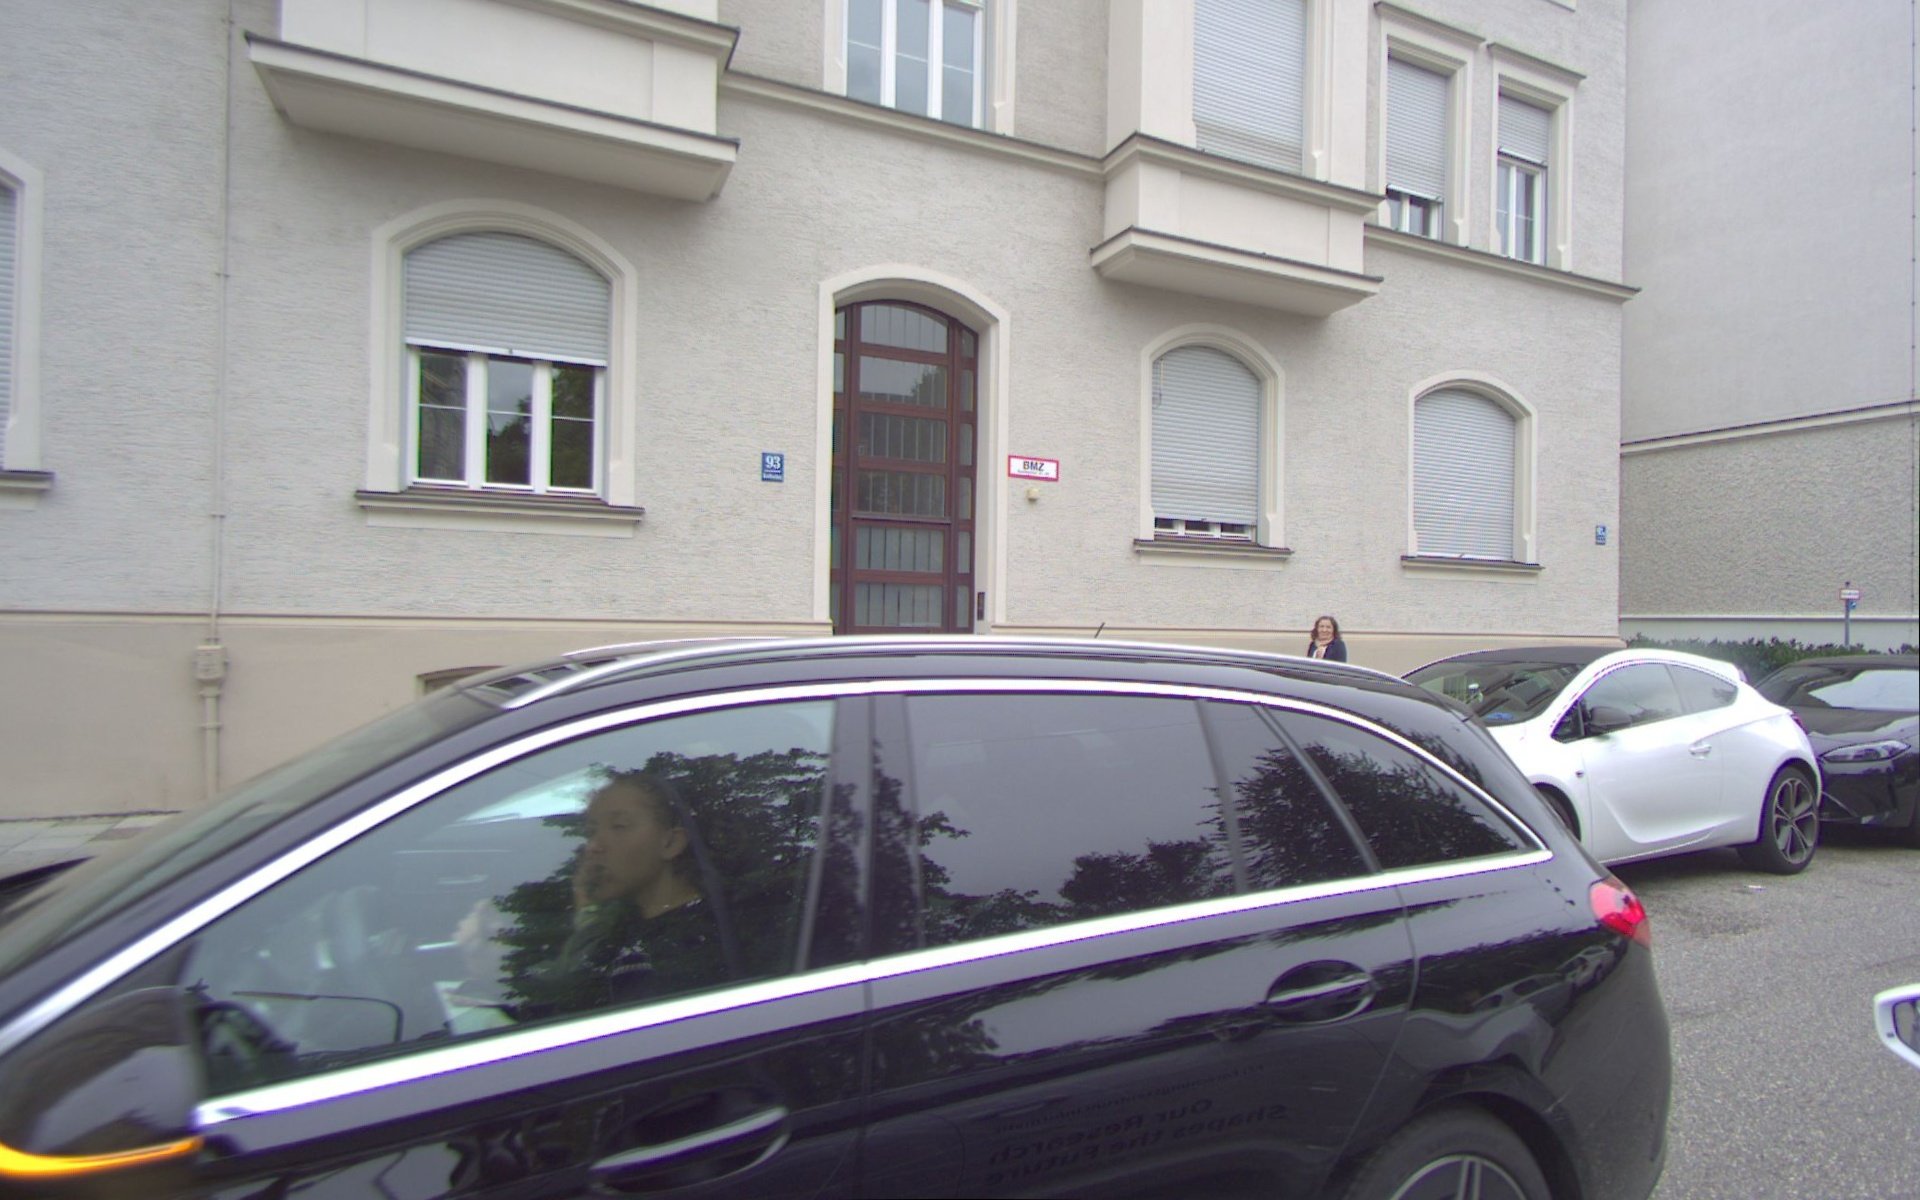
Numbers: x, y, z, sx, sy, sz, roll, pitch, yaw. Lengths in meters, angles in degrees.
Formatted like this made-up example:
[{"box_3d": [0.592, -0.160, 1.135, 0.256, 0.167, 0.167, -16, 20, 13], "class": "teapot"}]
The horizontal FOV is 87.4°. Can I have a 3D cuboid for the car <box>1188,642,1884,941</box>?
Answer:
[{"box_3d": [3.797, 1.027, 6.638, 4.214, 1.456, 1.832, 1, -3, -24], "class": "car"}]

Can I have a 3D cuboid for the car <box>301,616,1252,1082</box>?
[{"box_3d": [-0.696, 0.902, 4.873, 3.875, 1.519, 1.722, 2, -2, -24], "class": "car"}]

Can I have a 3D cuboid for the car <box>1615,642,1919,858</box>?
[{"box_3d": [8.018, 1.150, 8.842, 4.217, 1.519, 1.831, 1, -3, -26], "class": "car"}]

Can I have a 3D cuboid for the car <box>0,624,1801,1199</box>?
[{"box_3d": [-0.538, 0.782, 1.994, 4.352, 1.447, 1.868, 1, -2, -27], "class": "car"}]

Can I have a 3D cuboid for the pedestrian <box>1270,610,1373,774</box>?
[{"box_3d": [3.936, 0.973, 10.965, 0.691, 1.701, 0.789, 1, -1, -27], "class": "pedestrian"}]
